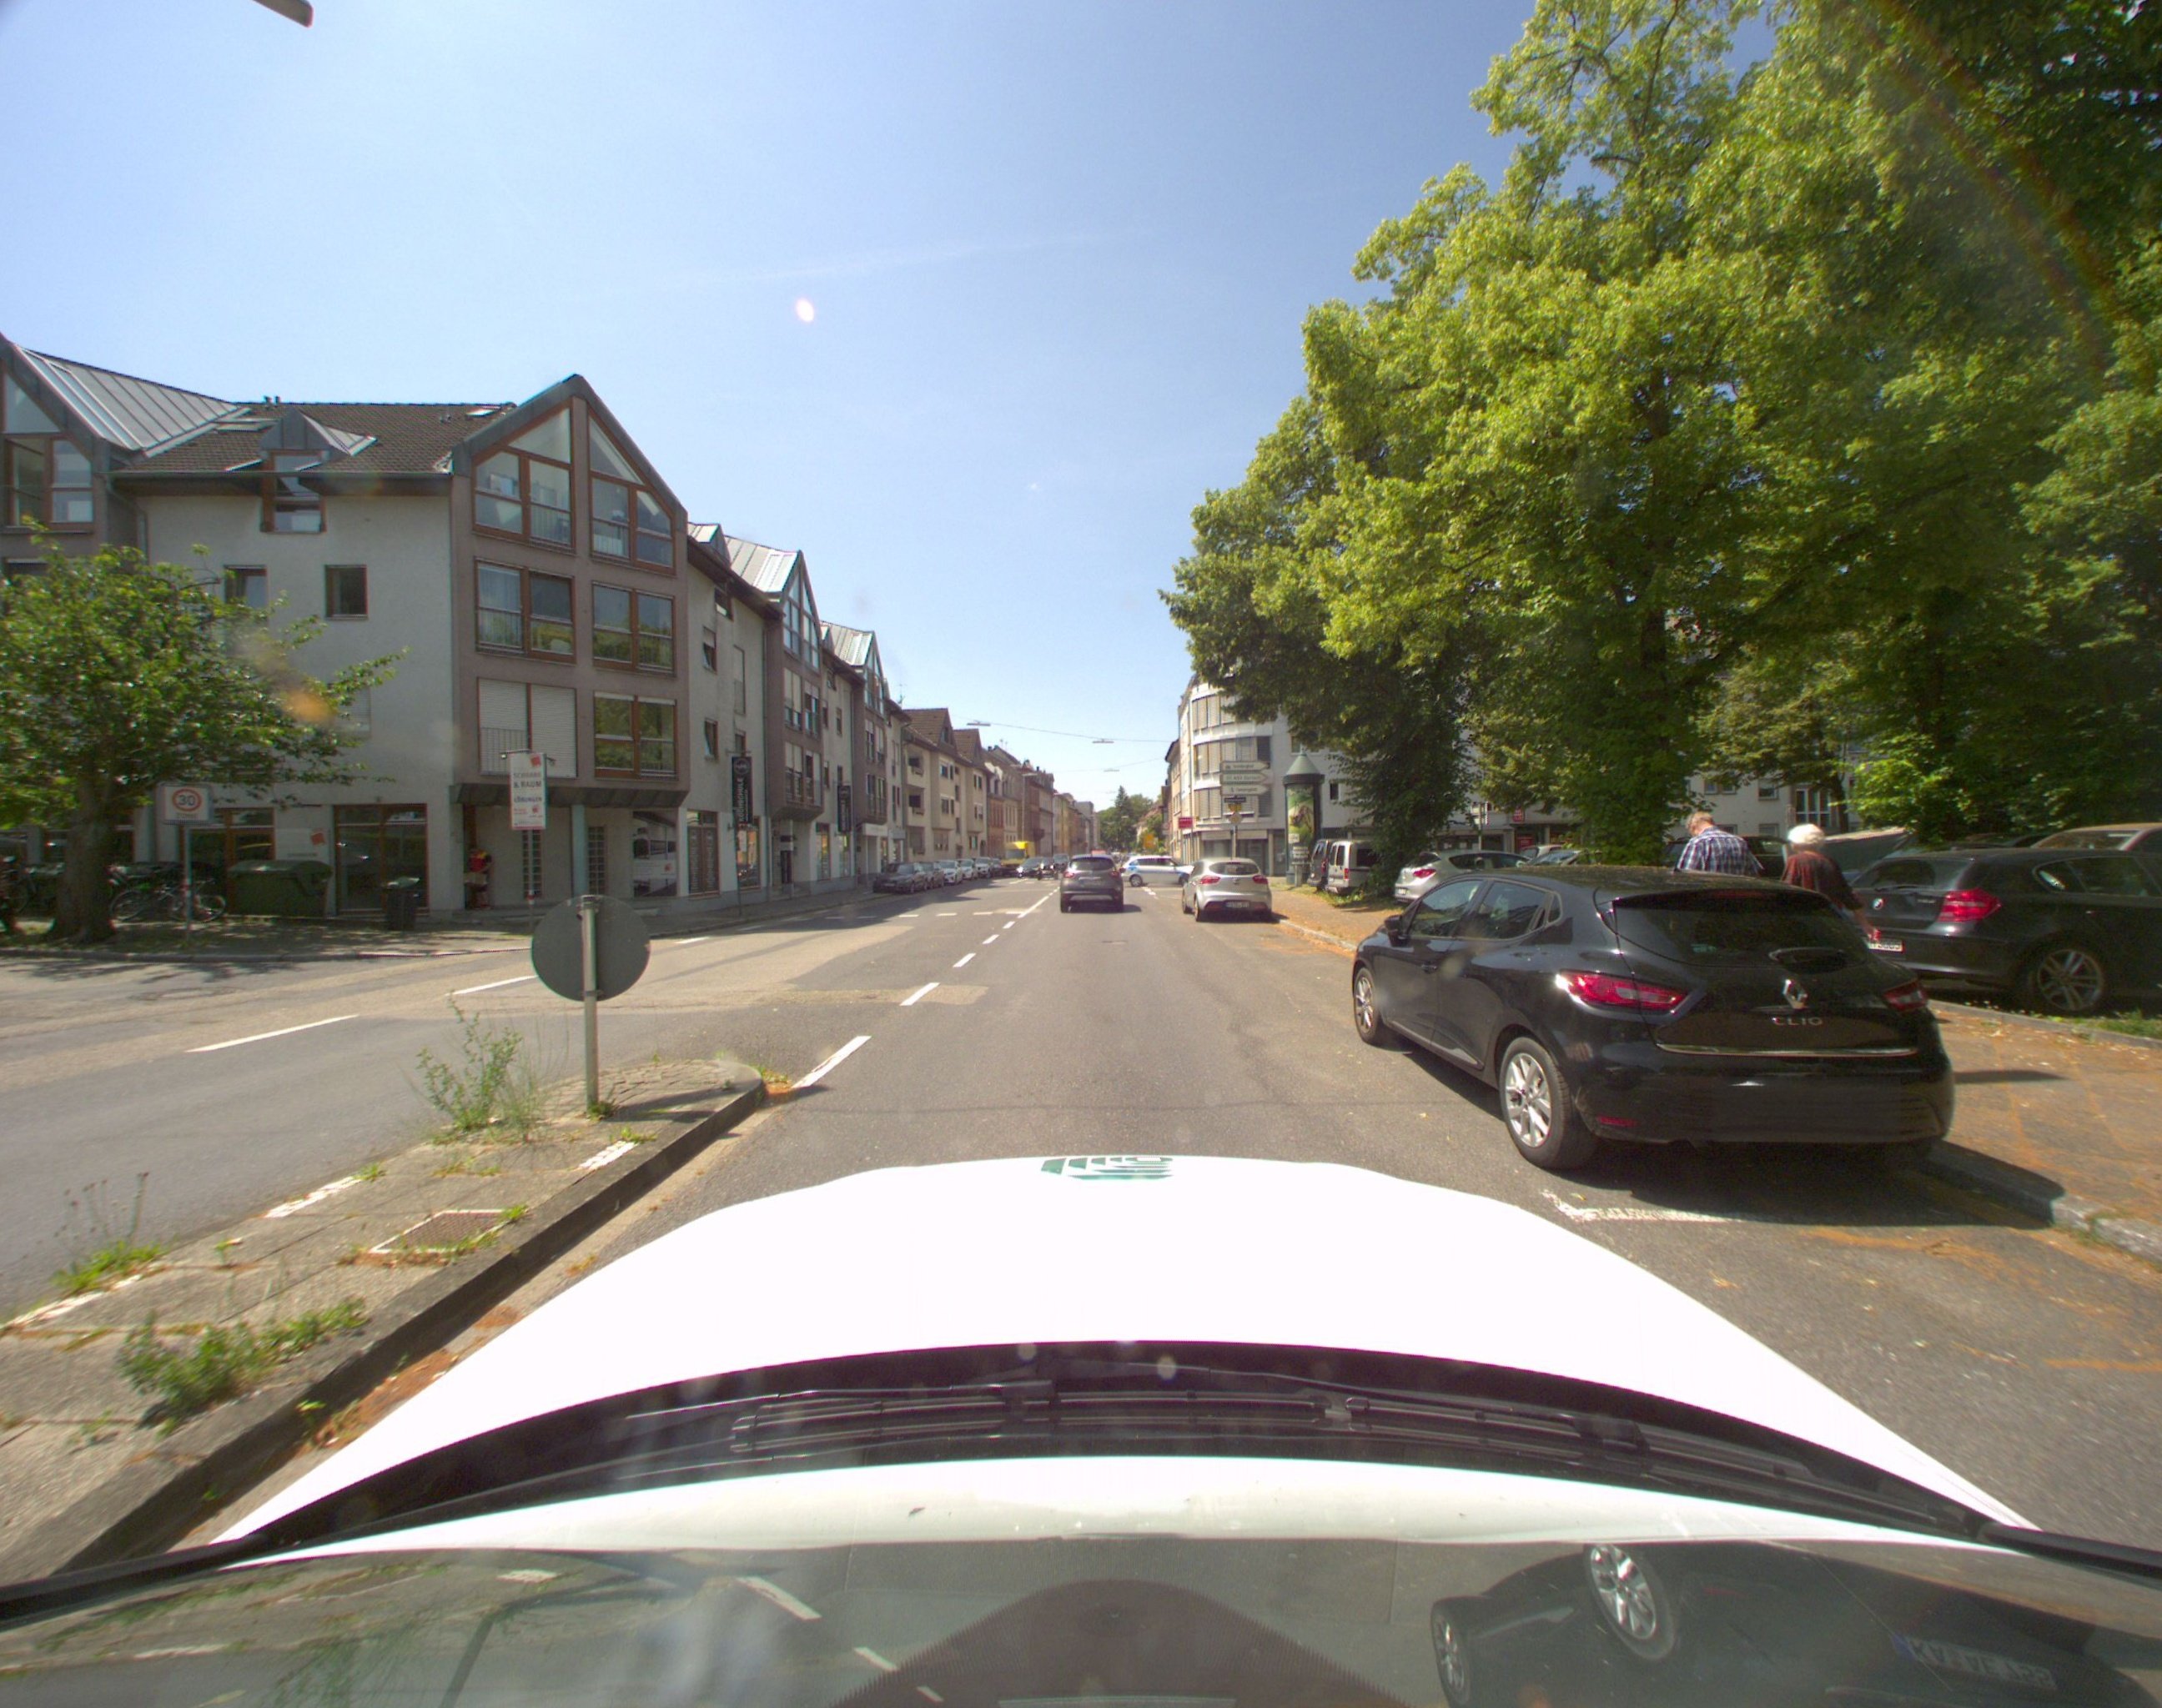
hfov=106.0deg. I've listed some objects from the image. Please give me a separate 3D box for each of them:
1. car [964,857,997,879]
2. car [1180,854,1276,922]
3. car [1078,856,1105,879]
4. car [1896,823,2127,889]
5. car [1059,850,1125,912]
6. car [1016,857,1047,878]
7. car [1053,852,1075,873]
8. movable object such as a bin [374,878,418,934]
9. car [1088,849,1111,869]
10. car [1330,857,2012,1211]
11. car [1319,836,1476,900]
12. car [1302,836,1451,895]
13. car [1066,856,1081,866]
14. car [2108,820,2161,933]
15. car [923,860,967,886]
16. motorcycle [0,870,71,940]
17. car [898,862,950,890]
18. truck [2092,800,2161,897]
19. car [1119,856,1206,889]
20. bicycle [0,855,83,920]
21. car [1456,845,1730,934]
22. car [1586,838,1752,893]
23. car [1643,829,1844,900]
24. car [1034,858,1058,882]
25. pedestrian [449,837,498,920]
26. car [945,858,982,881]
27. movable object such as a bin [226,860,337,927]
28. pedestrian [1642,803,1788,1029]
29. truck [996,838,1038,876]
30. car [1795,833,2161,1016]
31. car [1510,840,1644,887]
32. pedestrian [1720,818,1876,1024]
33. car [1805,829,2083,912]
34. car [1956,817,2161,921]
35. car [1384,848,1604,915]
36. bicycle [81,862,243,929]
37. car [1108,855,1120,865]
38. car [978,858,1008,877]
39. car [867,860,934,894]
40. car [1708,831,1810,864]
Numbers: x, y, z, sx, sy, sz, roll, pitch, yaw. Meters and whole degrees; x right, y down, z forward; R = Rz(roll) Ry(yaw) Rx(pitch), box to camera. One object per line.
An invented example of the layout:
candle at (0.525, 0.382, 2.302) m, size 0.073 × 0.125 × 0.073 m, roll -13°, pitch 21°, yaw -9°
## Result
car at (-7.671, 1.050, 62.345) m, size 1.833 × 1.596 × 4.387 m, roll 1°, pitch 0°, yaw 1°
car at (3.490, 0.770, 19.986) m, size 1.760 × 1.485 × 3.892 m, roll 0°, pitch -1°, yaw 2°
car at (0.835, 1.001, 60.926) m, size 1.805 × 1.620 × 4.444 m, roll -2°, pitch 0°, yaw 3°
car at (23.078, 0.051, 20.308) m, size 3.786 × 1.459 × 1.737 m, roll -2°, pitch 0°, yaw -1°
car at (0.258, 0.735, 23.614) m, size 1.739 × 1.616 × 3.998 m, roll -1°, pitch 0°, yaw -1°
car at (-3.515, 0.976, 58.480) m, size 1.735 × 1.419 × 4.227 m, roll -1°, pitch 0°, yaw 4°
car at (-1.526, 0.728, 71.290) m, size 1.807 × 1.620 × 4.438 m, roll -2°, pitch 0°, yaw -2°
movable object such as a bin at (-14.271, 1.069, 16.975) m, size 0.676 × 1.097 × 0.625 m, roll -1°, pitch -1°, yaw -40°
car at (1.994, 0.524, 86.640) m, size 1.983 × 2.013 × 4.473 m, roll -2°, pitch 0°, yaw 6°
car at (3.020, 0.745, 5.335) m, size 1.657 × 1.428 × 4.002 m, roll -1°, pitch 0°, yaw 2°
car at (8.868, 0.382, 22.972) m, size 3.755 × 1.667 × 1.661 m, roll -1°, pitch 0°, yaw -4°
car at (9.212, 0.365, 25.628) m, size 3.974 × 1.751 × 2.016 m, roll 0°, pitch -1°, yaw 0°
car at (-1.246, 1.138, 131.857) m, size 1.831 × 1.422 × 4.564 m, roll -4°, pitch -1°, yaw 5°
car at (17.770, 0.262, 11.553) m, size 3.971 × 1.662 × 1.806 m, roll -2°, pitch -1°, yaw 2°
car at (-8.155, 1.115, 49.153) m, size 1.833 × 1.489 × 4.386 m, roll 1°, pitch 0°, yaw 0°
motorcycle at (-18.515, 0.896, 13.590) m, size 0.929 × 1.034 × 2.375 m, roll 2°, pitch 3°, yaw -18°
car at (-8.386, 1.162, 43.860) m, size 1.833 × 1.384 × 4.328 m, roll 1°, pitch 0°, yaw 2°
truck at (22.859, -0.162, 15.966) m, size 3.782 × 1.881 × 1.739 m, roll -2°, pitch 0°, yaw 2°
car at (3.961, 0.873, 39.613) m, size 3.955 × 1.555 × 1.578 m, roll -1°, pitch -1°, yaw 18°
bicycle at (-21.323, 0.671, 16.051) m, size 2.251 × 1.235 × 0.756 m, roll -1°, pitch 0°, yaw -3°
car at (9.286, 0.618, 15.006) m, size 3.972 × 1.428 × 1.669 m, roll -2°, pitch 0°, yaw 1°
car at (18.308, 0.347, 25.480) m, size 3.975 × 1.528 × 1.680 m, roll -2°, pitch -1°, yaw -1°
car at (17.446, 0.268, 21.554) m, size 3.977 × 1.679 × 1.700 m, roll -2°, pitch -1°, yaw -3°
car at (-2.248, 0.976, 52.143) m, size 1.494 × 1.459 × 2.719 m, roll -1°, pitch 0°, yaw -3°
pedestrian at (-14.977, 0.593, 20.091) m, size 0.597 × 2.014 × 0.836 m, roll 0°, pitch -1°, yaw -6°
car at (-8.172, 1.074, 56.813) m, size 1.833 × 1.489 × 4.387 m, roll 1°, pitch 0°, yaw 1°
movable object such as a bin at (-17.012, 0.815, 17.376) m, size 1.271 × 1.367 × 1.085 m, roll 0°, pitch 0°, yaw -4°
pedestrian at (5.220, 0.487, 6.746) m, size 0.615 × 1.764 × 0.737 m, roll 0°, pitch -1°, yaw 0°
truck at (-5.019, 0.214, 65.149) m, size 2.216 × 2.771 × 7.569 m, roll -3°, pitch 0°, yaw 3°
car at (9.296, 0.592, 7.467) m, size 3.971 × 1.473 × 1.718 m, roll 1°, pitch -1°, yaw 2°
car at (18.465, 0.342, 30.417) m, size 3.975 × 1.554 × 1.680 m, roll -2°, pitch -1°, yaw -1°
pedestrian at (5.835, 0.520, 6.669) m, size 0.615 × 1.593 × 0.737 m, roll 0°, pitch -1°, yaw 0°
car at (17.629, 0.329, 16.763) m, size 3.975 × 1.483 × 1.680 m, roll -2°, pitch -1°, yaw -1°
car at (18.063, 0.211, 14.126) m, size 3.975 × 1.641 × 1.680 m, roll -2°, pitch -1°, yaw -1°
car at (9.014, 0.578, 17.997) m, size 3.975 × 1.398 × 1.807 m, roll 0°, pitch 0°, yaw -1°
bicycle at (-18.321, 0.804, 16.272) m, size 2.251 × 1.235 × 0.756 m, roll -1°, pitch 0°, yaw -4°
car at (5.450, 0.923, 134.718) m, size 1.755 × 1.560 × 3.949 m, roll -1°, pitch 0°, yaw 6°
car at (-7.311, 1.073, 67.917) m, size 1.832 × 1.488 × 4.389 m, roll 1°, pitch 0°, yaw 2°
car at (-8.491, 1.048, 38.725) m, size 1.832 × 1.447 × 4.972 m, roll 1°, pitch 0°, yaw 3°
car at (36.981, -0.333, 44.494) m, size 4.361 × 1.735 × 1.626 m, roll 0°, pitch -1°, yaw -4°
